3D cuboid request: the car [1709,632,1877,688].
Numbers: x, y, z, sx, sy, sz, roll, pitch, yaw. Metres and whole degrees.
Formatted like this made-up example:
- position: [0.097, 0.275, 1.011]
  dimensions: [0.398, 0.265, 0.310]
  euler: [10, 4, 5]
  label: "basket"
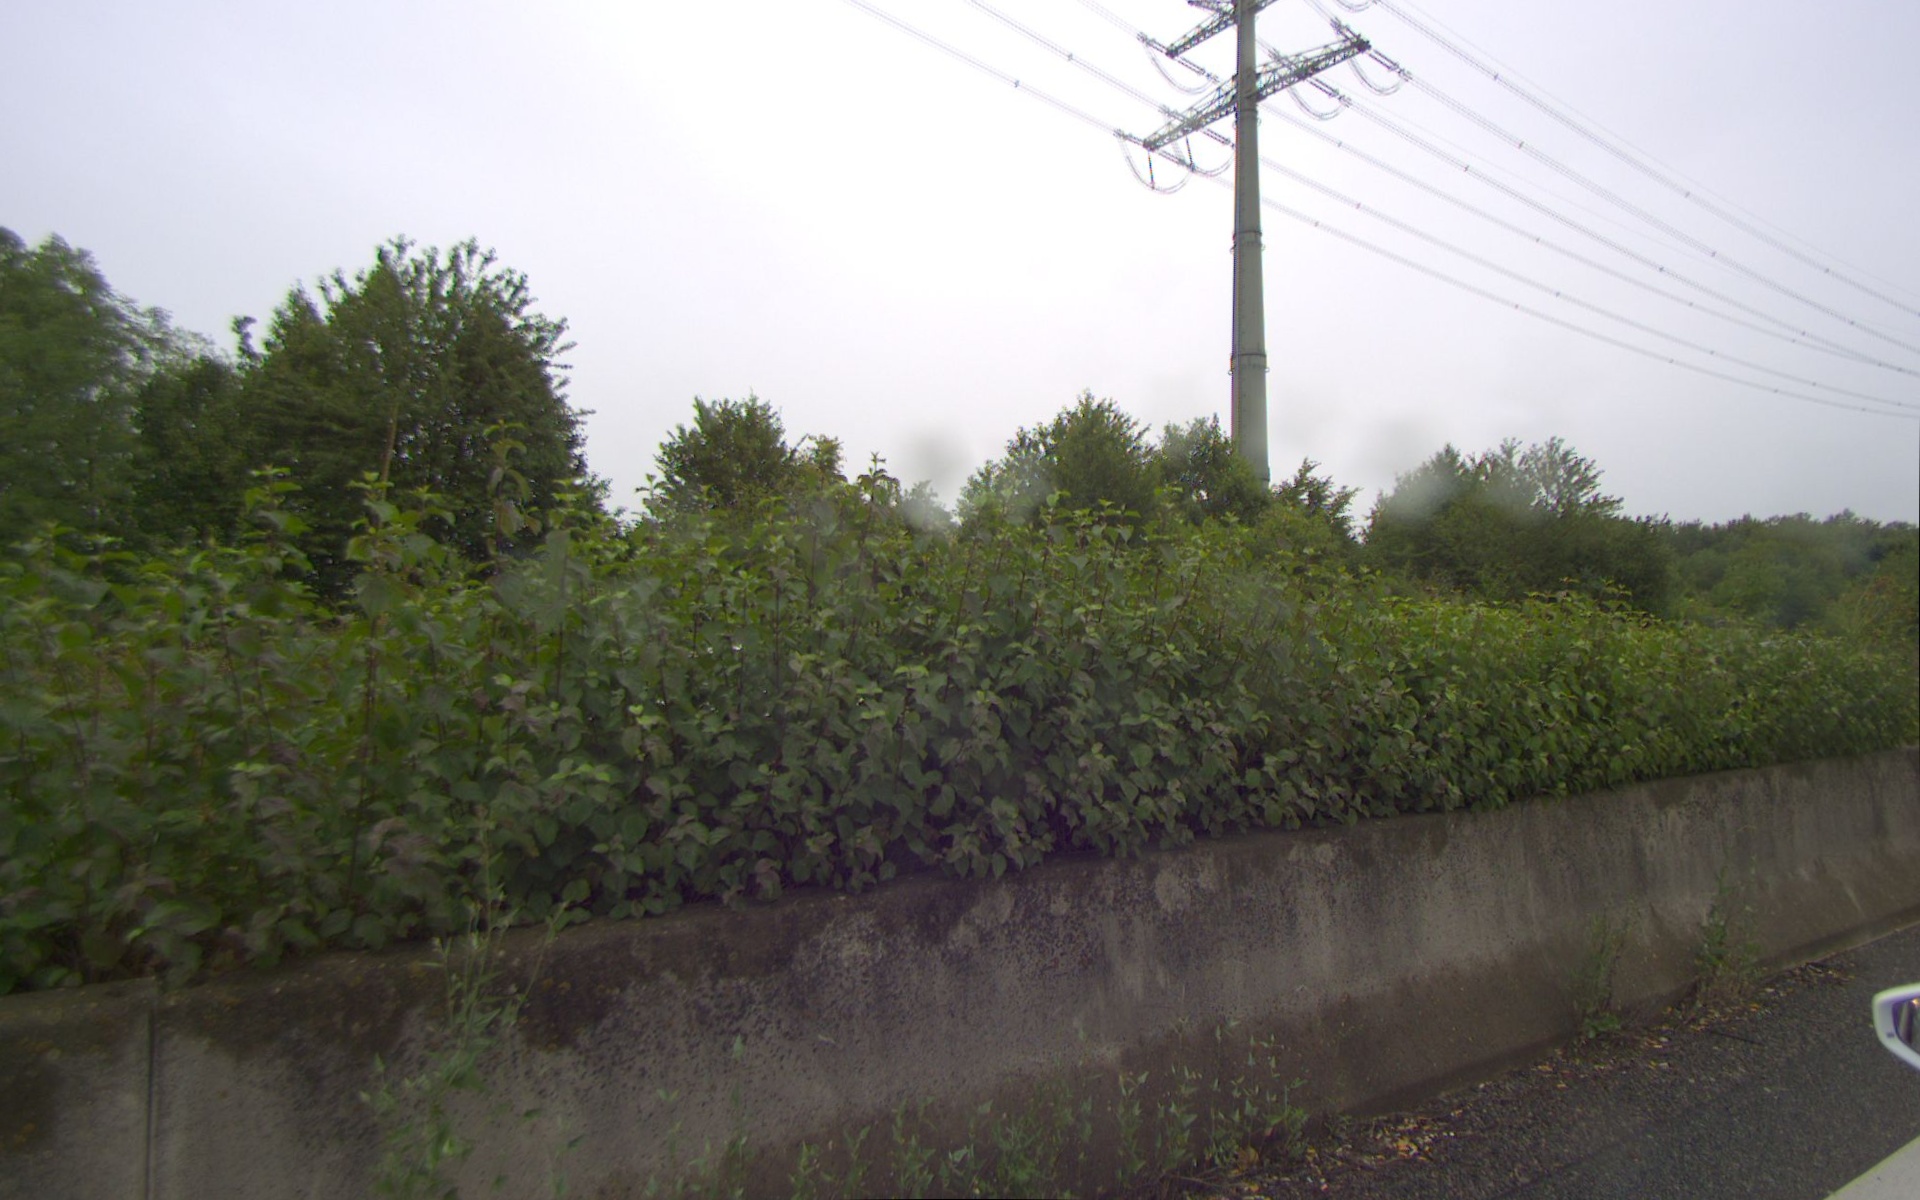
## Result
- position: [20.562, 1.436, 24.774]
  dimensions: [3.953, 1.207, 1.984]
  euler: [1, -1, -30]
  label: "car"
